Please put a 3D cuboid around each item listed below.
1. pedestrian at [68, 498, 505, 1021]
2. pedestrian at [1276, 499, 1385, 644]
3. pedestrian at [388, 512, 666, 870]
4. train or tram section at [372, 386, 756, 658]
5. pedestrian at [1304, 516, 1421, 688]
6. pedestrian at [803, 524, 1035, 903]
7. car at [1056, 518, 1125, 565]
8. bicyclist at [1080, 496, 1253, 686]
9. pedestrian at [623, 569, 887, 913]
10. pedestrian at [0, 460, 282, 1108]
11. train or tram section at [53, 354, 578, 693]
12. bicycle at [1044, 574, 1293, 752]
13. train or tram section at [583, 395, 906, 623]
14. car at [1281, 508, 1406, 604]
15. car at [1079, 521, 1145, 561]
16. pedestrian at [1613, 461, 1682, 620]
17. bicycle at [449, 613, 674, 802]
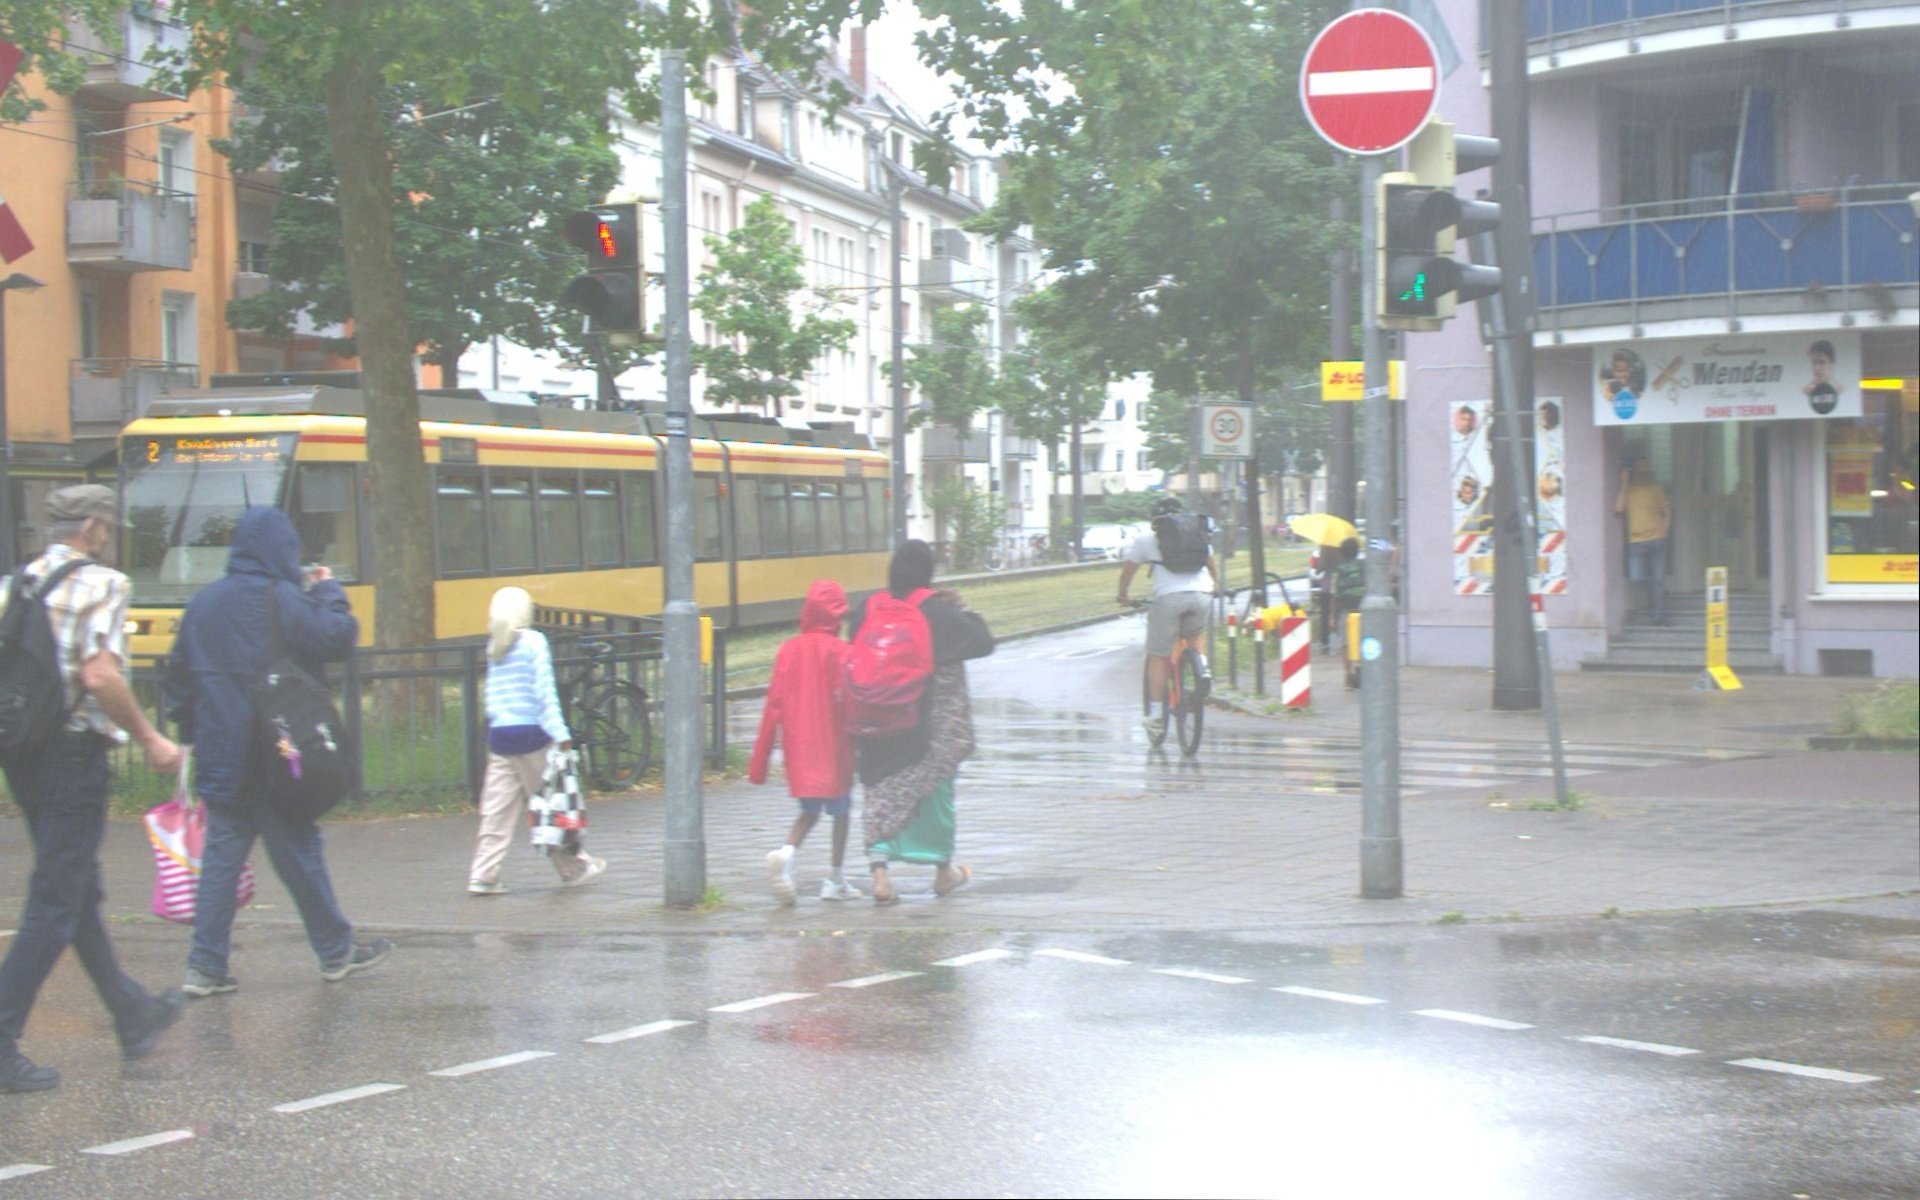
[{"bbox_3d":[-2.326,0.506,11.901,0.995,1.680,1.053,0,3,41],"label":"pedestrian"},{"bbox_3d":[4.428,-0.343,41.059,0.954,1.691,0.920,0,2,33],"label":"pedestrian"},{"bbox_3d":[-1.912,0.381,15.321,0.876,1.520,1.064,-1,2,14],"label":"pedestrian"},{"bbox_3d":[-5.150,-1.058,46.611,2.639,3.339,8.372,0,1,12],"label":"train or tram section"},{"bbox_3d":[3.738,0.013,31.904,0.992,1.554,0.784,-1,1,12],"label":"pedestrian"},{"bbox_3d":[-0.166,0.461,14.594,0.691,1.542,0.761,0,2,25],"label":"pedestrian"},{"bbox_3d":[4.421,-1.978,116.088,1.994,1.527,3.999,0,1,7],"label":"car"},{"bbox_3d":[1.473,-0.079,24.614,0.740,1.305,1.077,-2,2,-30],"label":"bicyclist"},{"bbox_3d":[-0.865,0.578,14.711,0.672,1.377,1.009,0,2,28],"label":"pedestrian"},{"bbox_3d":[-2.633,0.491,10.045,0.810,1.775,0.993,0,2,24],"label":"pedestrian"},{"bbox_3d":[-6.910,-0.859,38.437,2.639,3.358,8.372,0,1,13],"label":"train or tram section"},{"bbox_3d":[1.471,0.425,24.651,0.750,1.169,2.041,-2,2,-30],"label":"bicycle"},{"bbox_3d":[-3.261,-1.454,55.613,2.639,3.339,9.982,0,1,12],"label":"train or tram section"},{"bbox_3d":[7.093,-0.830,63.256,1.994,1.667,3.999,-1,2,10],"label":"car"},{"bbox_3d":[5.395,-2.100,121.798,1.994,1.393,3.999,0,1,7],"label":"car"},{"bbox_3d":[6.974,-0.607,34.854,0.472,1.596,0.592,1,2,37],"label":"pedestrian"},{"bbox_3d":[-2.444,0.644,21.260,0.445,1.073,1.616,0,2,33],"label":"bicycle"}]
